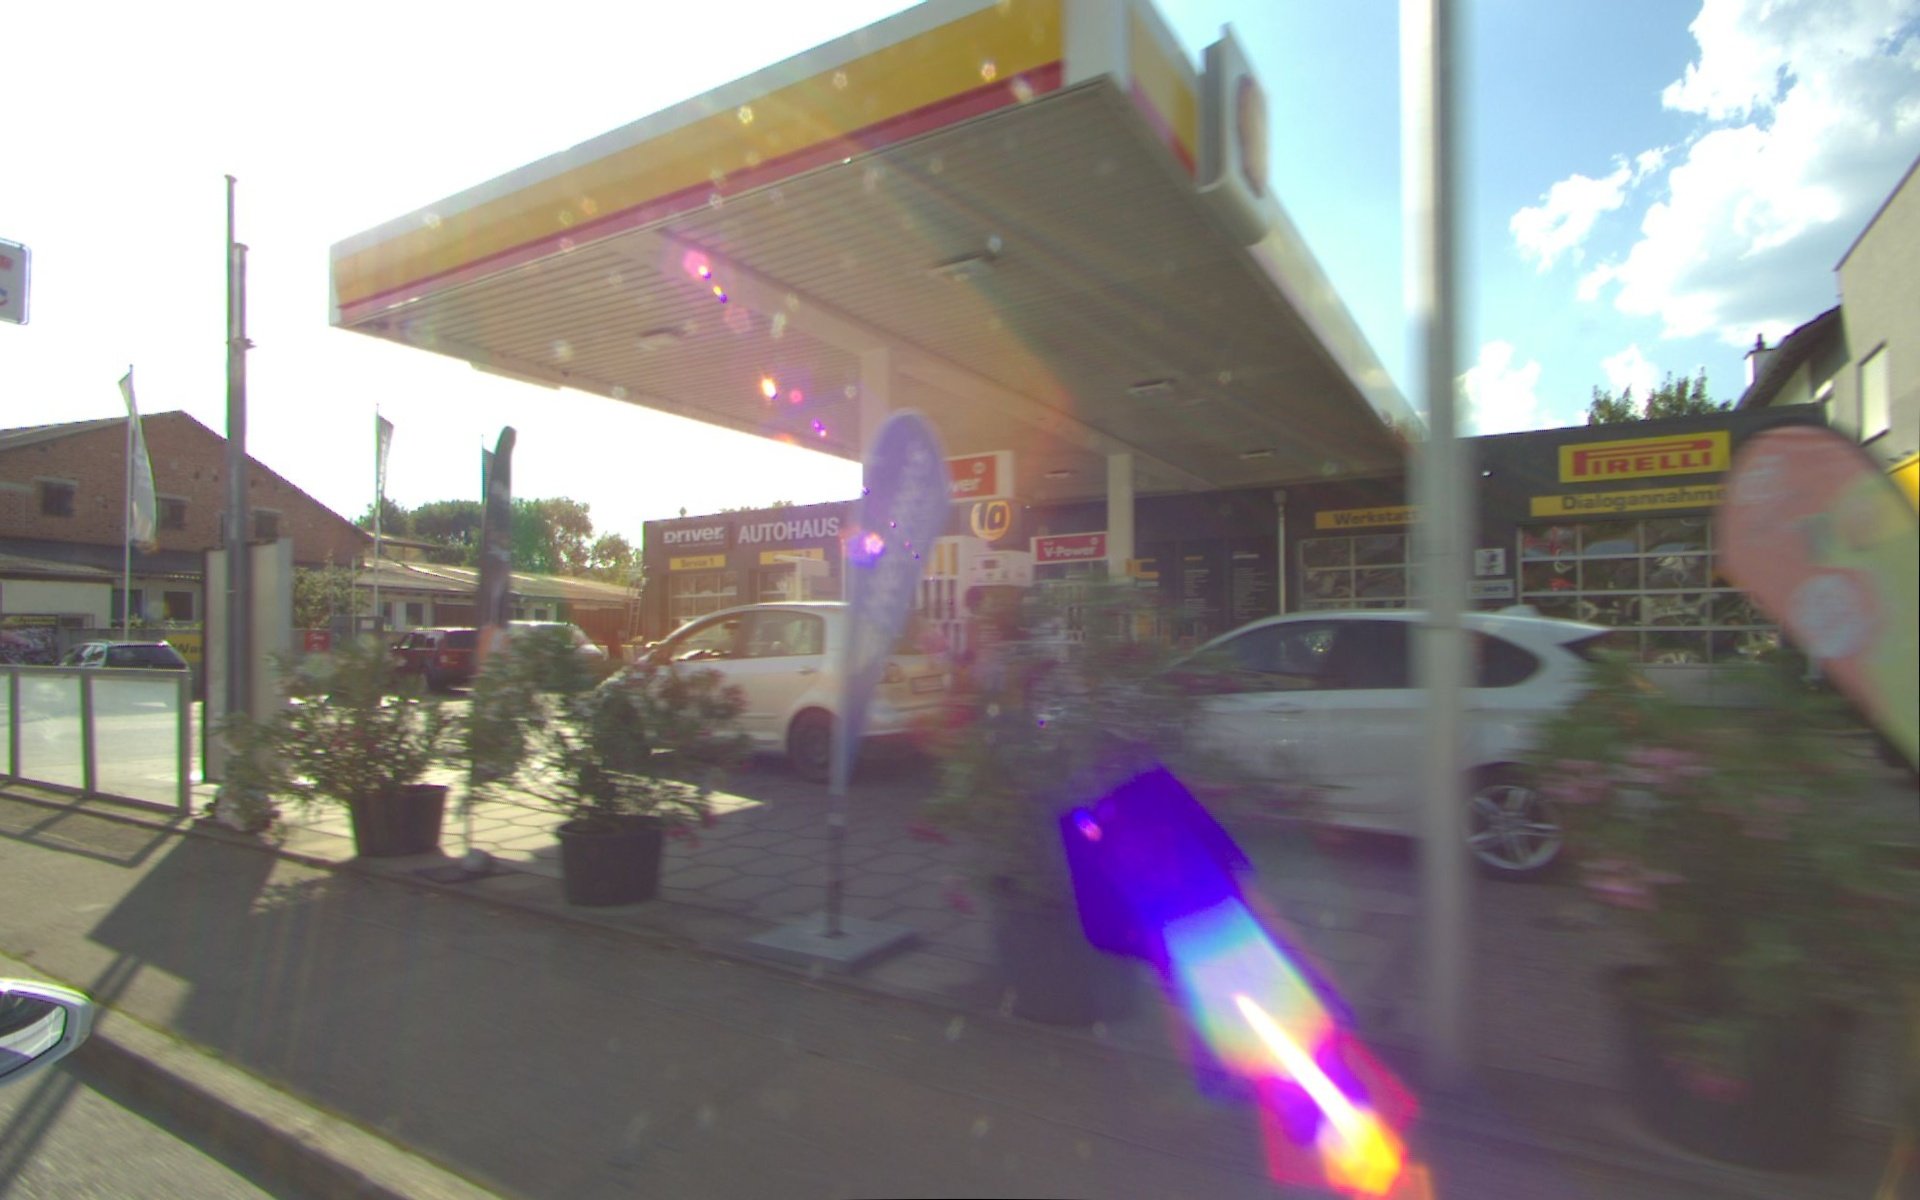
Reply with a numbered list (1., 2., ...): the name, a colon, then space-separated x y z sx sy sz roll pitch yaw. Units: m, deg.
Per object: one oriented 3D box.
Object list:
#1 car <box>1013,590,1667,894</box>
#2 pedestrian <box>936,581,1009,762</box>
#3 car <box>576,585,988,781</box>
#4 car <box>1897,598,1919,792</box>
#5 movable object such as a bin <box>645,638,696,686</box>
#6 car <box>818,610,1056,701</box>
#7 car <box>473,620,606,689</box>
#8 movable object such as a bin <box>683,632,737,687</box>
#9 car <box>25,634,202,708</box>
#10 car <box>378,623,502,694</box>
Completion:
1. car: 2.492 0.792 7.045 3.941 1.597 1.669 -1 -1 32
2. pedestrian: 0.124 0.684 9.749 0.527 1.691 0.499 -1 -2 32
3. car: -1.834 0.721 9.913 3.941 1.597 1.669 -1 -1 32
4. car: 9.284 0.739 7.028 1.645 1.654 3.686 -1 -2 -10
5. movable object such as a bin: -8.678 1.835 30.044 1.110 1.393 0.988 0 -1 26
6. car: -0.449 0.979 17.403 3.943 1.418 1.534 -3 -3 32
7. car: -12.835 1.603 30.474 4.491 1.948 1.574 0 -1 35
8. movable object such as a bin: -7.255 1.701 29.087 1.192 1.549 0.986 0 -1 31
9. car: -18.312 1.478 21.626 4.316 1.445 1.576 -1 -3 31
10. car: -14.410 1.551 27.678 3.583 1.815 1.574 0 -1 35
